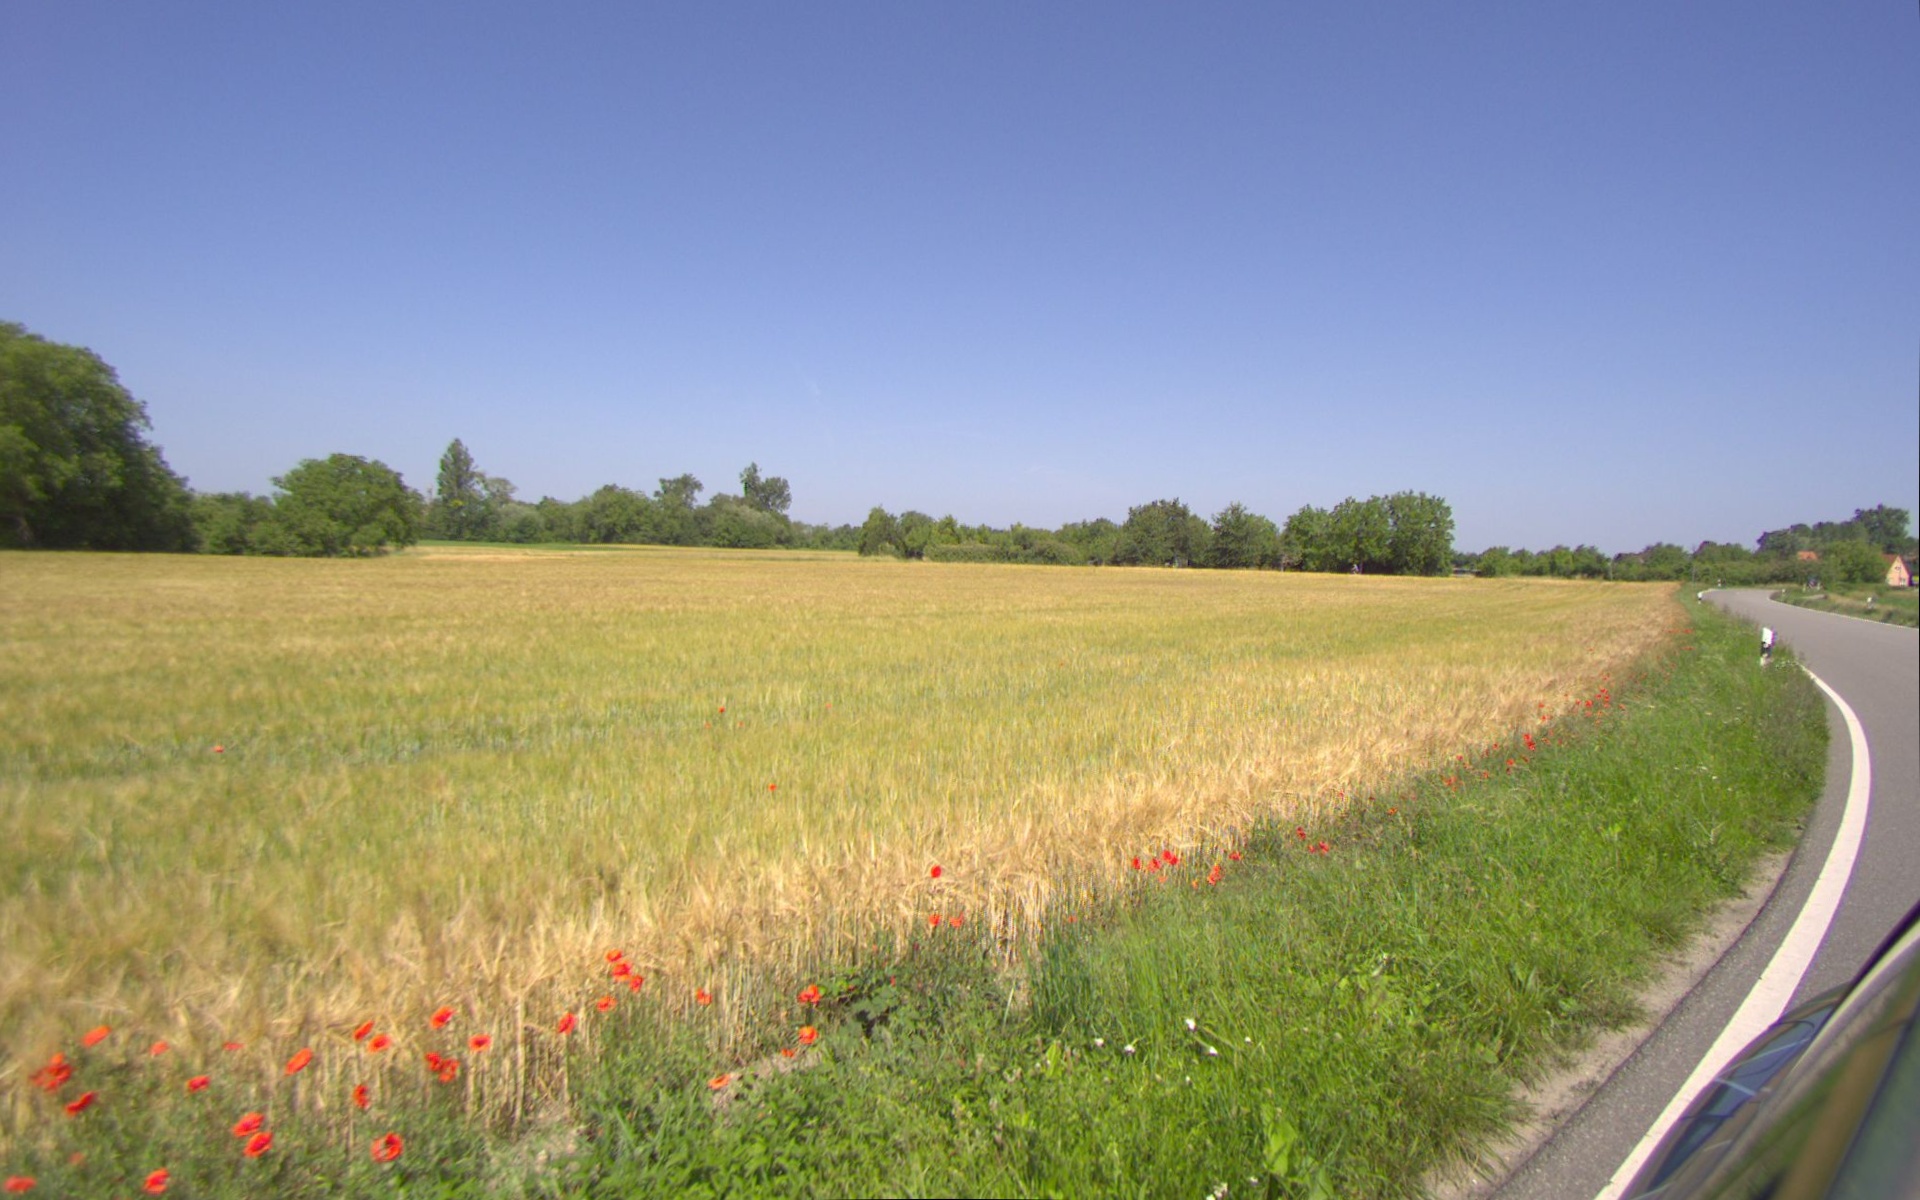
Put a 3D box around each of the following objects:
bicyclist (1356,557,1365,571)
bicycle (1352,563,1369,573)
[{"bbox_3d":[47.036,-4.177,118.735,0.722,1.593,0.675,2,3,2],"label":"bicyclist"},{"bbox_3d":[47.024,-3.783,118.751,1.736,1.129,0.522,2,3,2],"label":"bicycle"}]
